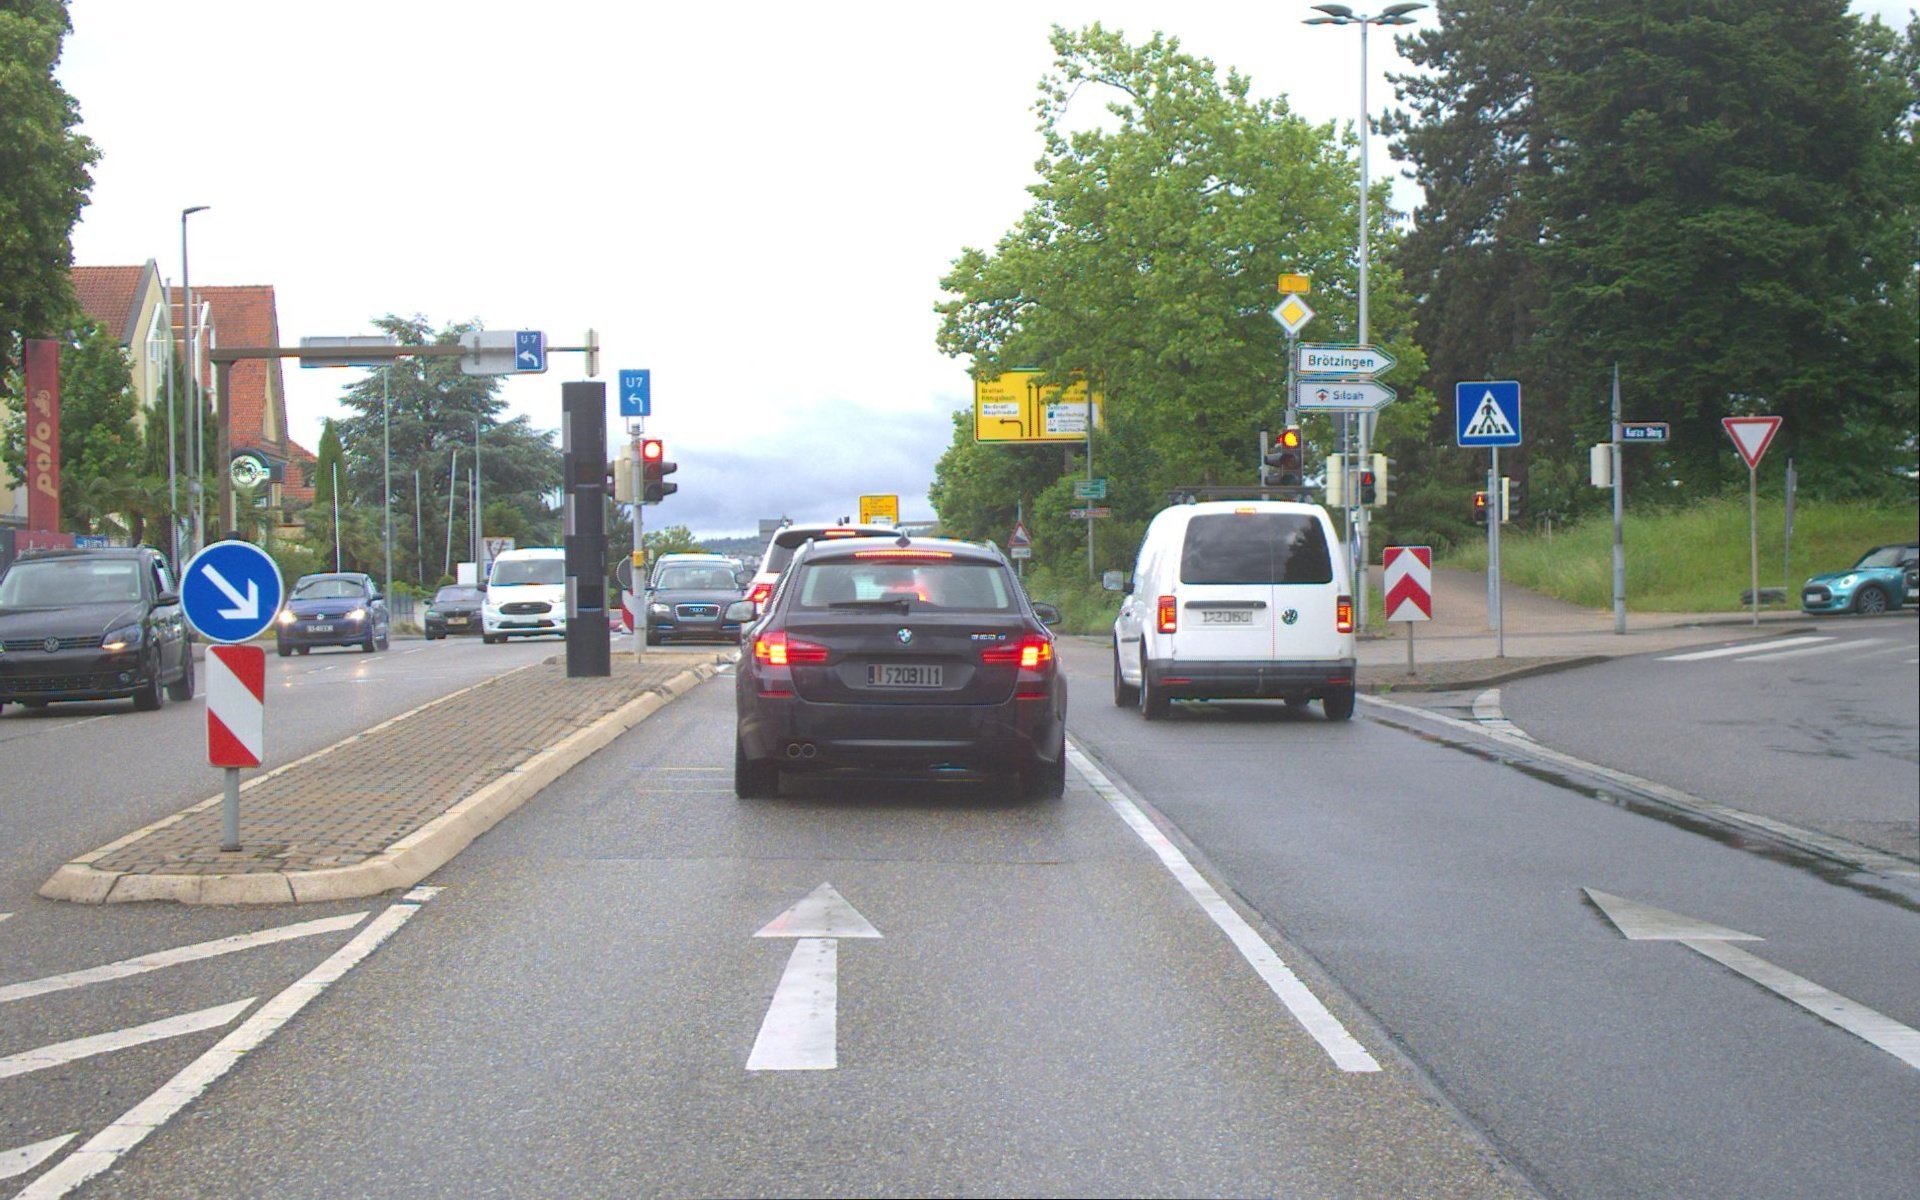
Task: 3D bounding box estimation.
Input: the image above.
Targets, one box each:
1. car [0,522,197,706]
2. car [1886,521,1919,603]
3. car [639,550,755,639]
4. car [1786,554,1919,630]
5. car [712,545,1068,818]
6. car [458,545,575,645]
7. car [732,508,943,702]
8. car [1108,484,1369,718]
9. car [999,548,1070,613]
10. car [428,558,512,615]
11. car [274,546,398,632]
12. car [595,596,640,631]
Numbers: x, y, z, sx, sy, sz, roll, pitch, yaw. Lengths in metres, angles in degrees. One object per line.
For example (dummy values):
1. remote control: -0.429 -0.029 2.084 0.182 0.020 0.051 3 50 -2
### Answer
1. car: -8.769 0.099 34.384 1.756 1.671 4.149 -2 1 -7
2. car: 19.274 -0.736 62.630 4.315 1.462 1.901 -2 1 -19
3. car: -4.524 -0.113 59.061 1.894 1.451 4.098 -1 1 -5
4. car: 17.938 -0.190 65.518 3.986 1.289 1.609 -3 2 -19
5. car: -0.329 0.395 19.991 1.855 1.414 3.957 1 1 1
6. car: -8.695 -0.128 67.726 1.857 1.817 4.580 -3 1 -3
7. car: -1.093 0.010 32.153 1.728 1.705 3.382 0 1 2
8. car: 2.316 -0.037 29.522 1.741 1.863 3.946 0 1 -3
9. car: 1.757 -0.480 82.221 1.600 1.367 3.680 -1 2 0
10. car: -12.550 -0.366 88.265 1.668 1.377 4.072 -1 1 -2
11. car: -11.078 -0.218 61.245 1.634 1.377 3.766 -3 2 -3
12. car: -14.715 0.573 147.762 1.667 1.349 3.443 -1 1 -2
